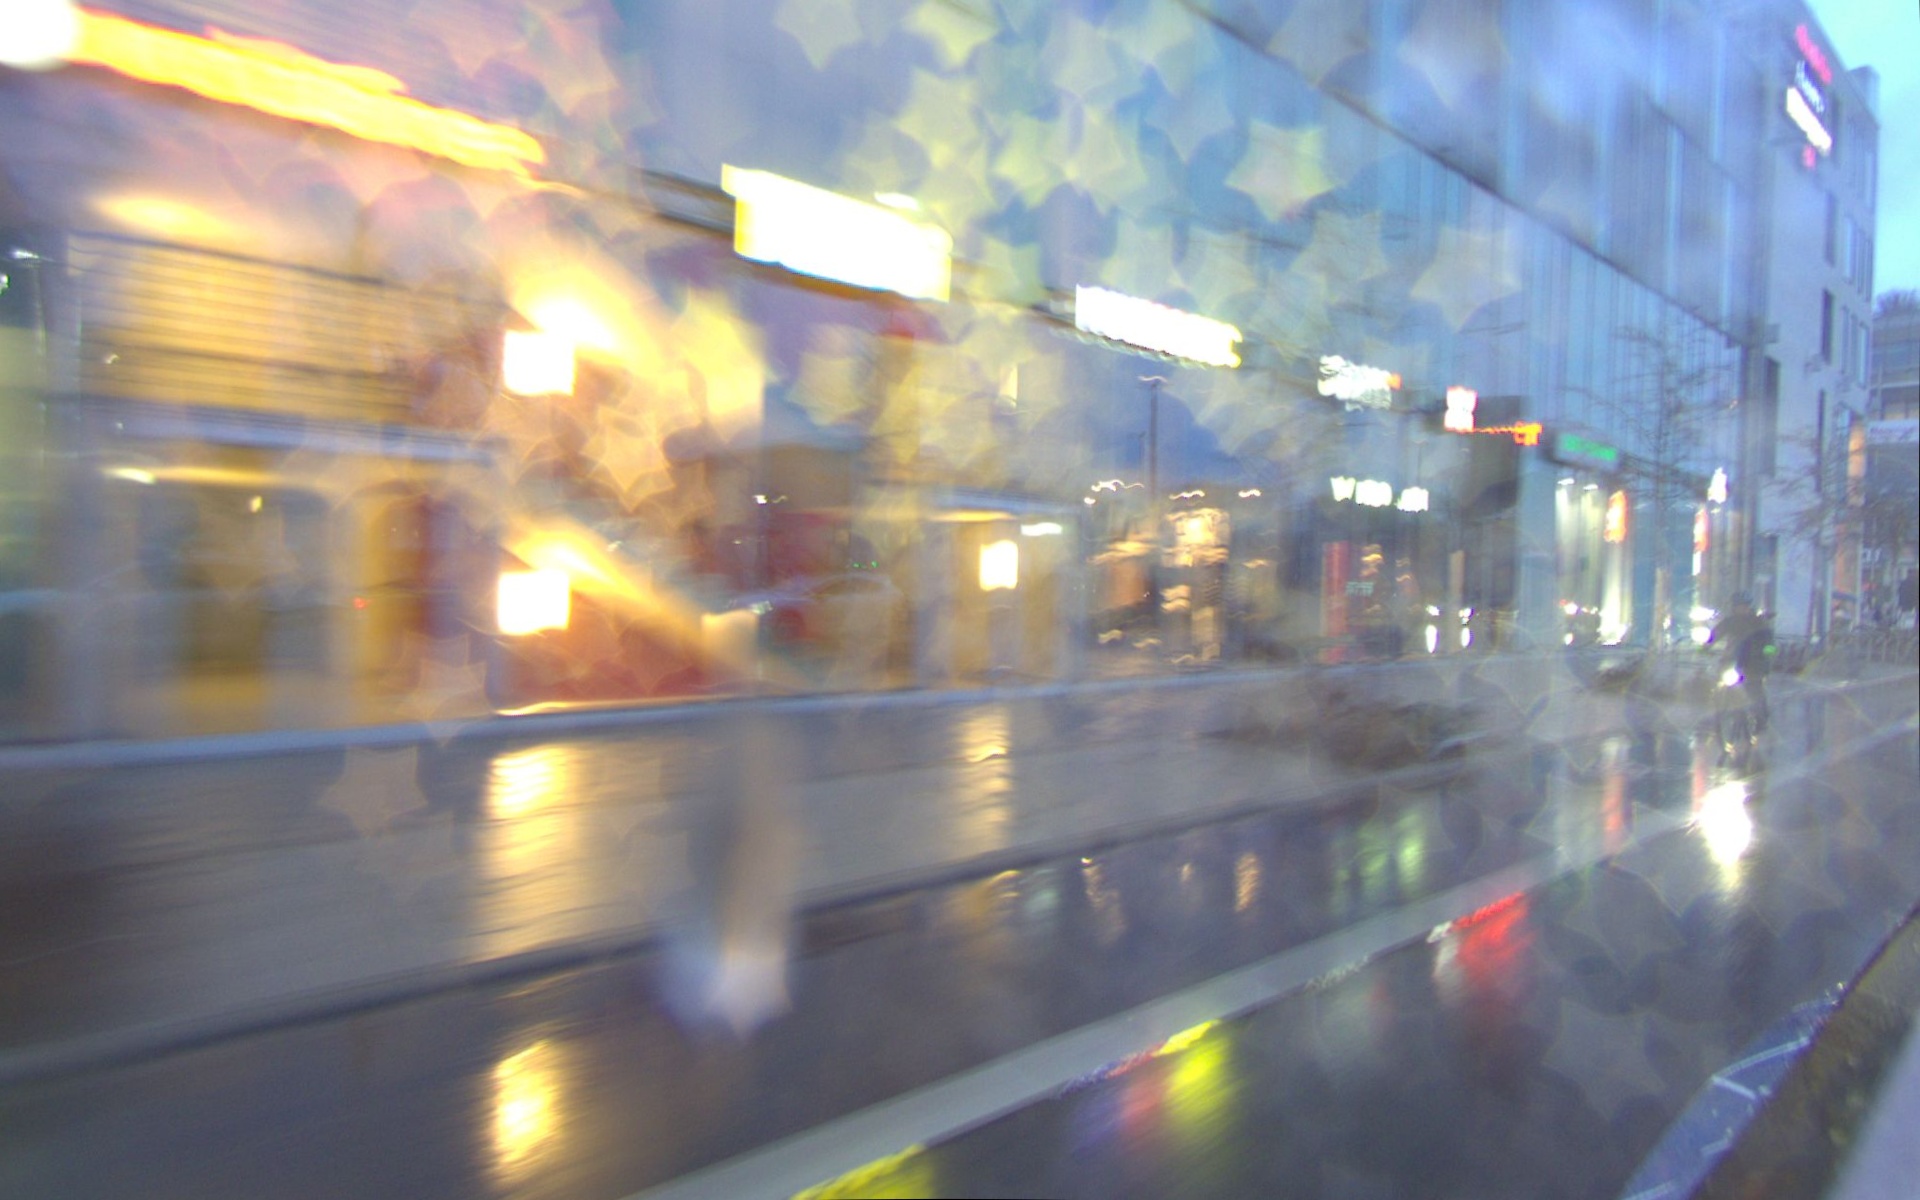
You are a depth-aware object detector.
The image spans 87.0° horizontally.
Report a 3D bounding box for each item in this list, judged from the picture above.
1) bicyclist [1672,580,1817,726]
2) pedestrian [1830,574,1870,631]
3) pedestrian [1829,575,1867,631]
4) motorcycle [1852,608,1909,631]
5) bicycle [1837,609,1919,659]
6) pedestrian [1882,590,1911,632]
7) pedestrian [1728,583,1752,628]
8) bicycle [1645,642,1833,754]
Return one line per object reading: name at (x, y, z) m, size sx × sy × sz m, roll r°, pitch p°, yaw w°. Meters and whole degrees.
bicyclist at (8.473, 0.530, 10.940) m, size 1.046 × 1.481 × 0.946 m, roll 1°, pitch 0°, yaw -34°
pedestrian at (35.231, 0.098, 40.049) m, size 0.696 × 2.219 × 0.963 m, roll 1°, pitch 1°, yaw -27°
pedestrian at (35.684, 0.105, 40.657) m, size 0.569 × 2.189 × 0.969 m, roll 1°, pitch 1°, yaw -27°
motorcycle at (36.668, 0.770, 40.328) m, size 0.387 × 0.901 × 1.637 m, roll 1°, pitch 0°, yaw -37°
bicycle at (24.695, 0.893, 26.933) m, size 0.654 × 1.189 × 1.908 m, roll 1°, pitch 2°, yaw -39°
pedestrian at (37.250, 0.427, 40.266) m, size 0.492 × 1.628 × 0.779 m, roll 1°, pitch 0°, yaw -38°
pedestrian at (32.342, 0.230, 41.965) m, size 0.612 × 1.828 × 0.616 m, roll 1°, pitch -1°, yaw -38°
bicycle at (8.387, 0.995, 10.871) m, size 2.197 × 1.012 × 0.946 m, roll 1°, pitch 0°, yaw -34°
